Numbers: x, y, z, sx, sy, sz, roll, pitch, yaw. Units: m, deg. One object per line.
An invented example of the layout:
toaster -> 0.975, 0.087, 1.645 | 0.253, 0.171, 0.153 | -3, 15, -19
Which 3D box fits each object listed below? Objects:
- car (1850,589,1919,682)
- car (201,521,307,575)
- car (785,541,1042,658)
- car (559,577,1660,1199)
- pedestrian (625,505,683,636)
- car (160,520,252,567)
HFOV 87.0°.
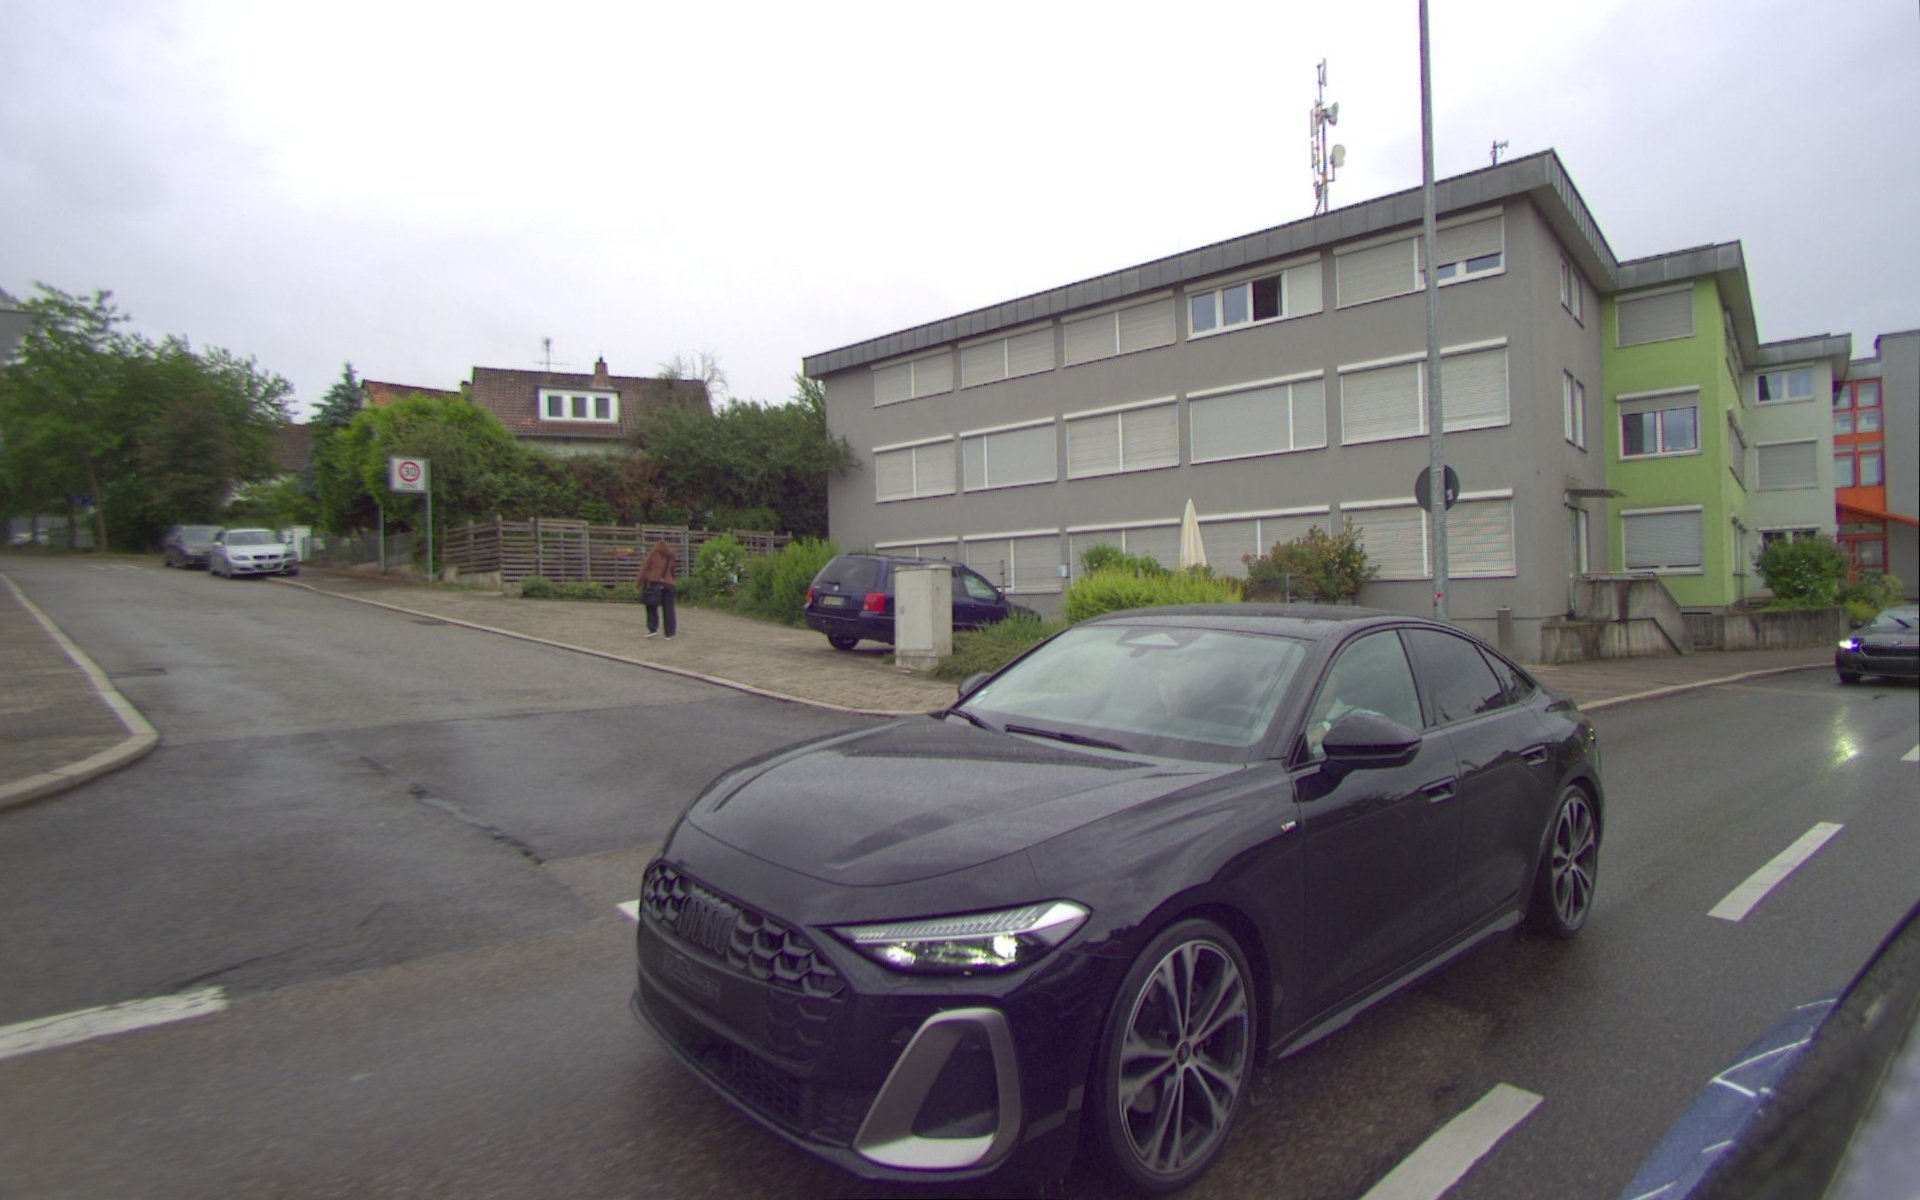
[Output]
car -> 18.444, 0.612, 18.967 | 3.926, 1.538, 1.873 | -2, 1, -37
car -> -21.327, -1.608, 30.529 | 1.968, 1.492, 3.991 | -4, 6, -44
car -> -0.622, -0.106, 15.853 | 1.808, 1.545, 3.942 | 4, 5, 41
car -> 1.081, 0.692, 4.092 | 4.659, 1.442, 1.868 | -3, 1, -42
pedestrian -> -4.914, -0.484, 16.259 | 0.716, 2.038, 0.605 | 2, 3, 44
car -> -25.945, -1.982, 34.777 | 1.968, 1.492, 3.991 | -4, 6, -44
